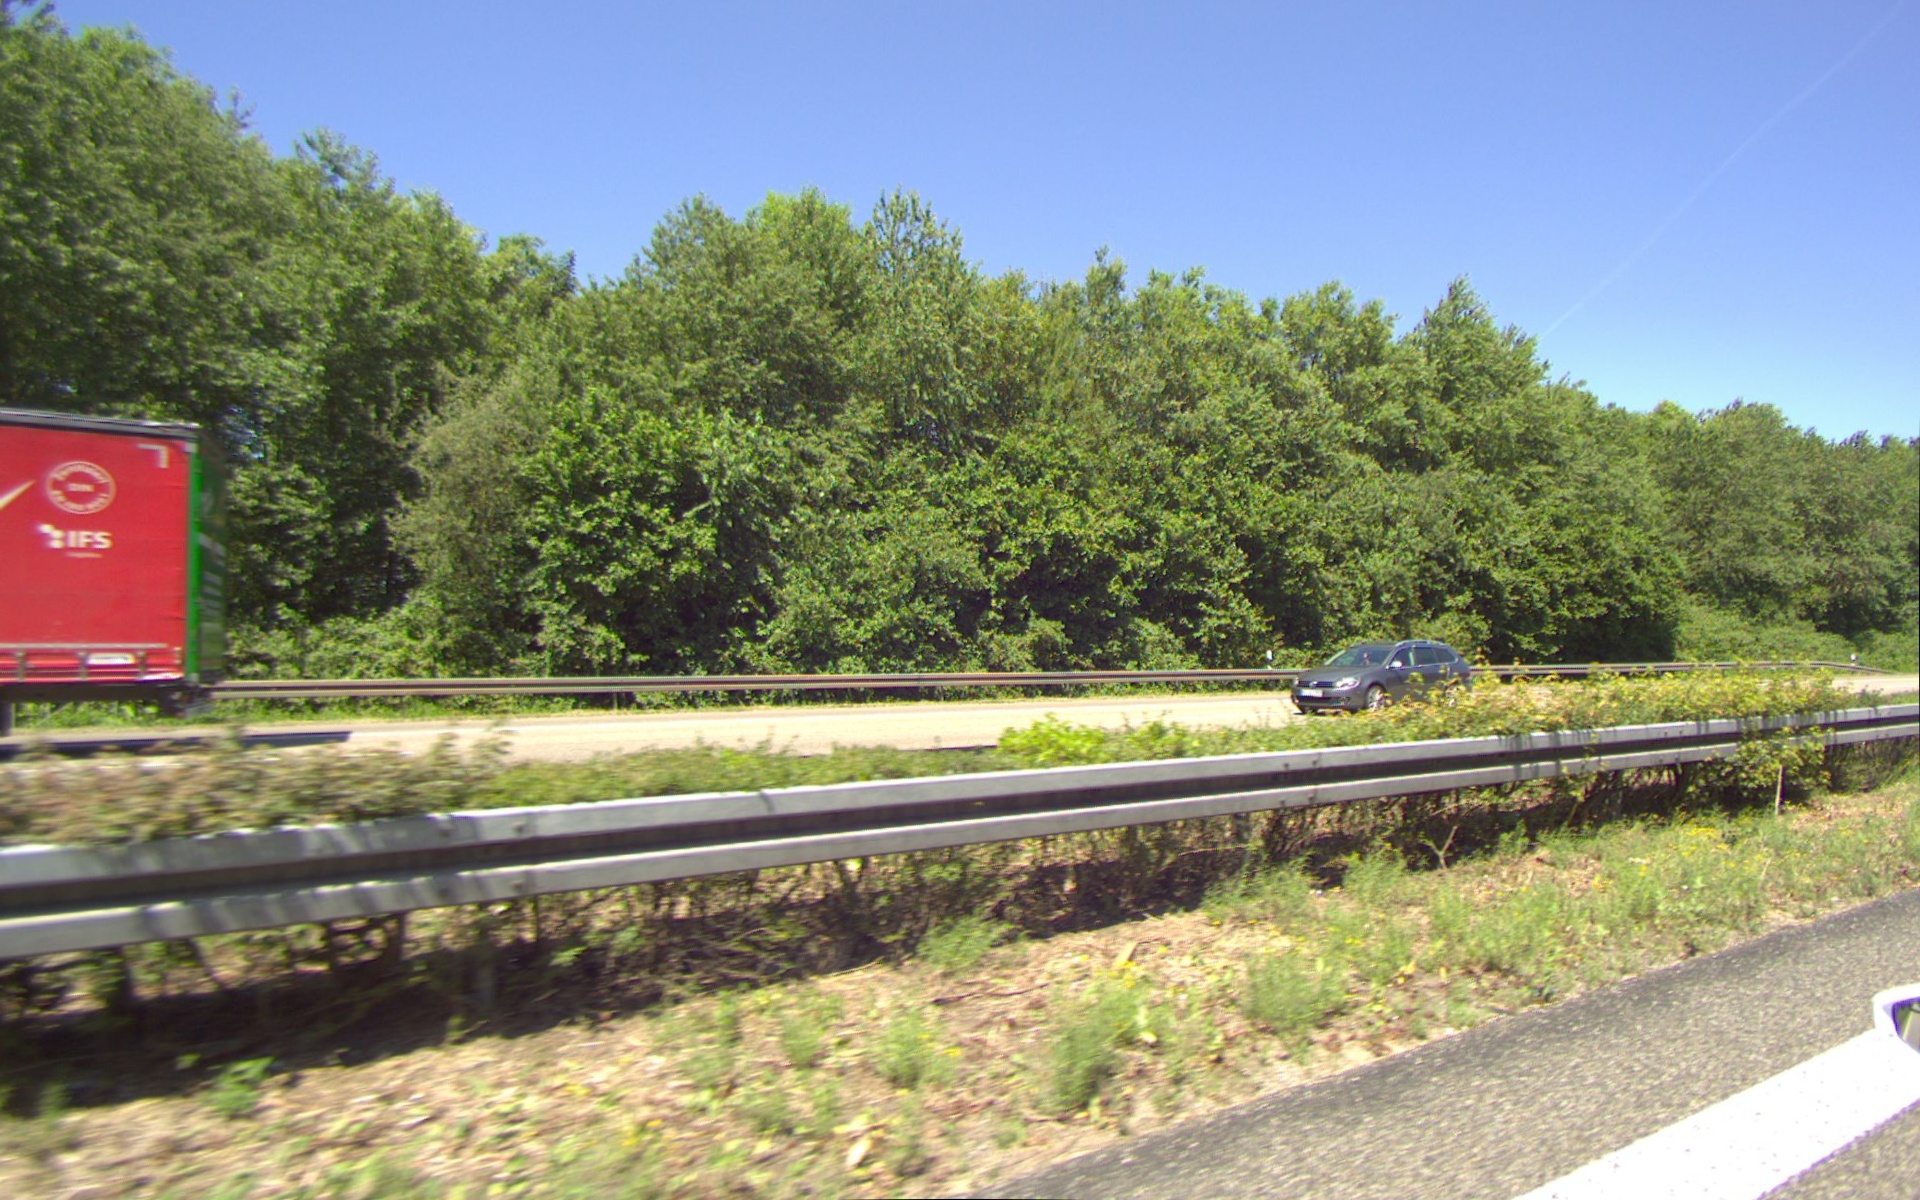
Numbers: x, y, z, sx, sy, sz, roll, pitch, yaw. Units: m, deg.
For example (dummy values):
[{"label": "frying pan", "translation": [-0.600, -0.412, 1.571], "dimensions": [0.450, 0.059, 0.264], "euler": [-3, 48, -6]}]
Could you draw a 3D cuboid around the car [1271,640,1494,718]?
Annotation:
[{"label": "car", "translation": [8.838, 1.572, 20.898], "dimensions": [4.817, 1.469, 1.839], "euler": [2, -2, -31]}]

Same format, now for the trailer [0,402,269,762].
[{"label": "trailer", "translation": [-15.250, -0.287, 10.758], "dimensions": [12.595, 4.112, 3.201], "euler": [2, -2, -31]}]
